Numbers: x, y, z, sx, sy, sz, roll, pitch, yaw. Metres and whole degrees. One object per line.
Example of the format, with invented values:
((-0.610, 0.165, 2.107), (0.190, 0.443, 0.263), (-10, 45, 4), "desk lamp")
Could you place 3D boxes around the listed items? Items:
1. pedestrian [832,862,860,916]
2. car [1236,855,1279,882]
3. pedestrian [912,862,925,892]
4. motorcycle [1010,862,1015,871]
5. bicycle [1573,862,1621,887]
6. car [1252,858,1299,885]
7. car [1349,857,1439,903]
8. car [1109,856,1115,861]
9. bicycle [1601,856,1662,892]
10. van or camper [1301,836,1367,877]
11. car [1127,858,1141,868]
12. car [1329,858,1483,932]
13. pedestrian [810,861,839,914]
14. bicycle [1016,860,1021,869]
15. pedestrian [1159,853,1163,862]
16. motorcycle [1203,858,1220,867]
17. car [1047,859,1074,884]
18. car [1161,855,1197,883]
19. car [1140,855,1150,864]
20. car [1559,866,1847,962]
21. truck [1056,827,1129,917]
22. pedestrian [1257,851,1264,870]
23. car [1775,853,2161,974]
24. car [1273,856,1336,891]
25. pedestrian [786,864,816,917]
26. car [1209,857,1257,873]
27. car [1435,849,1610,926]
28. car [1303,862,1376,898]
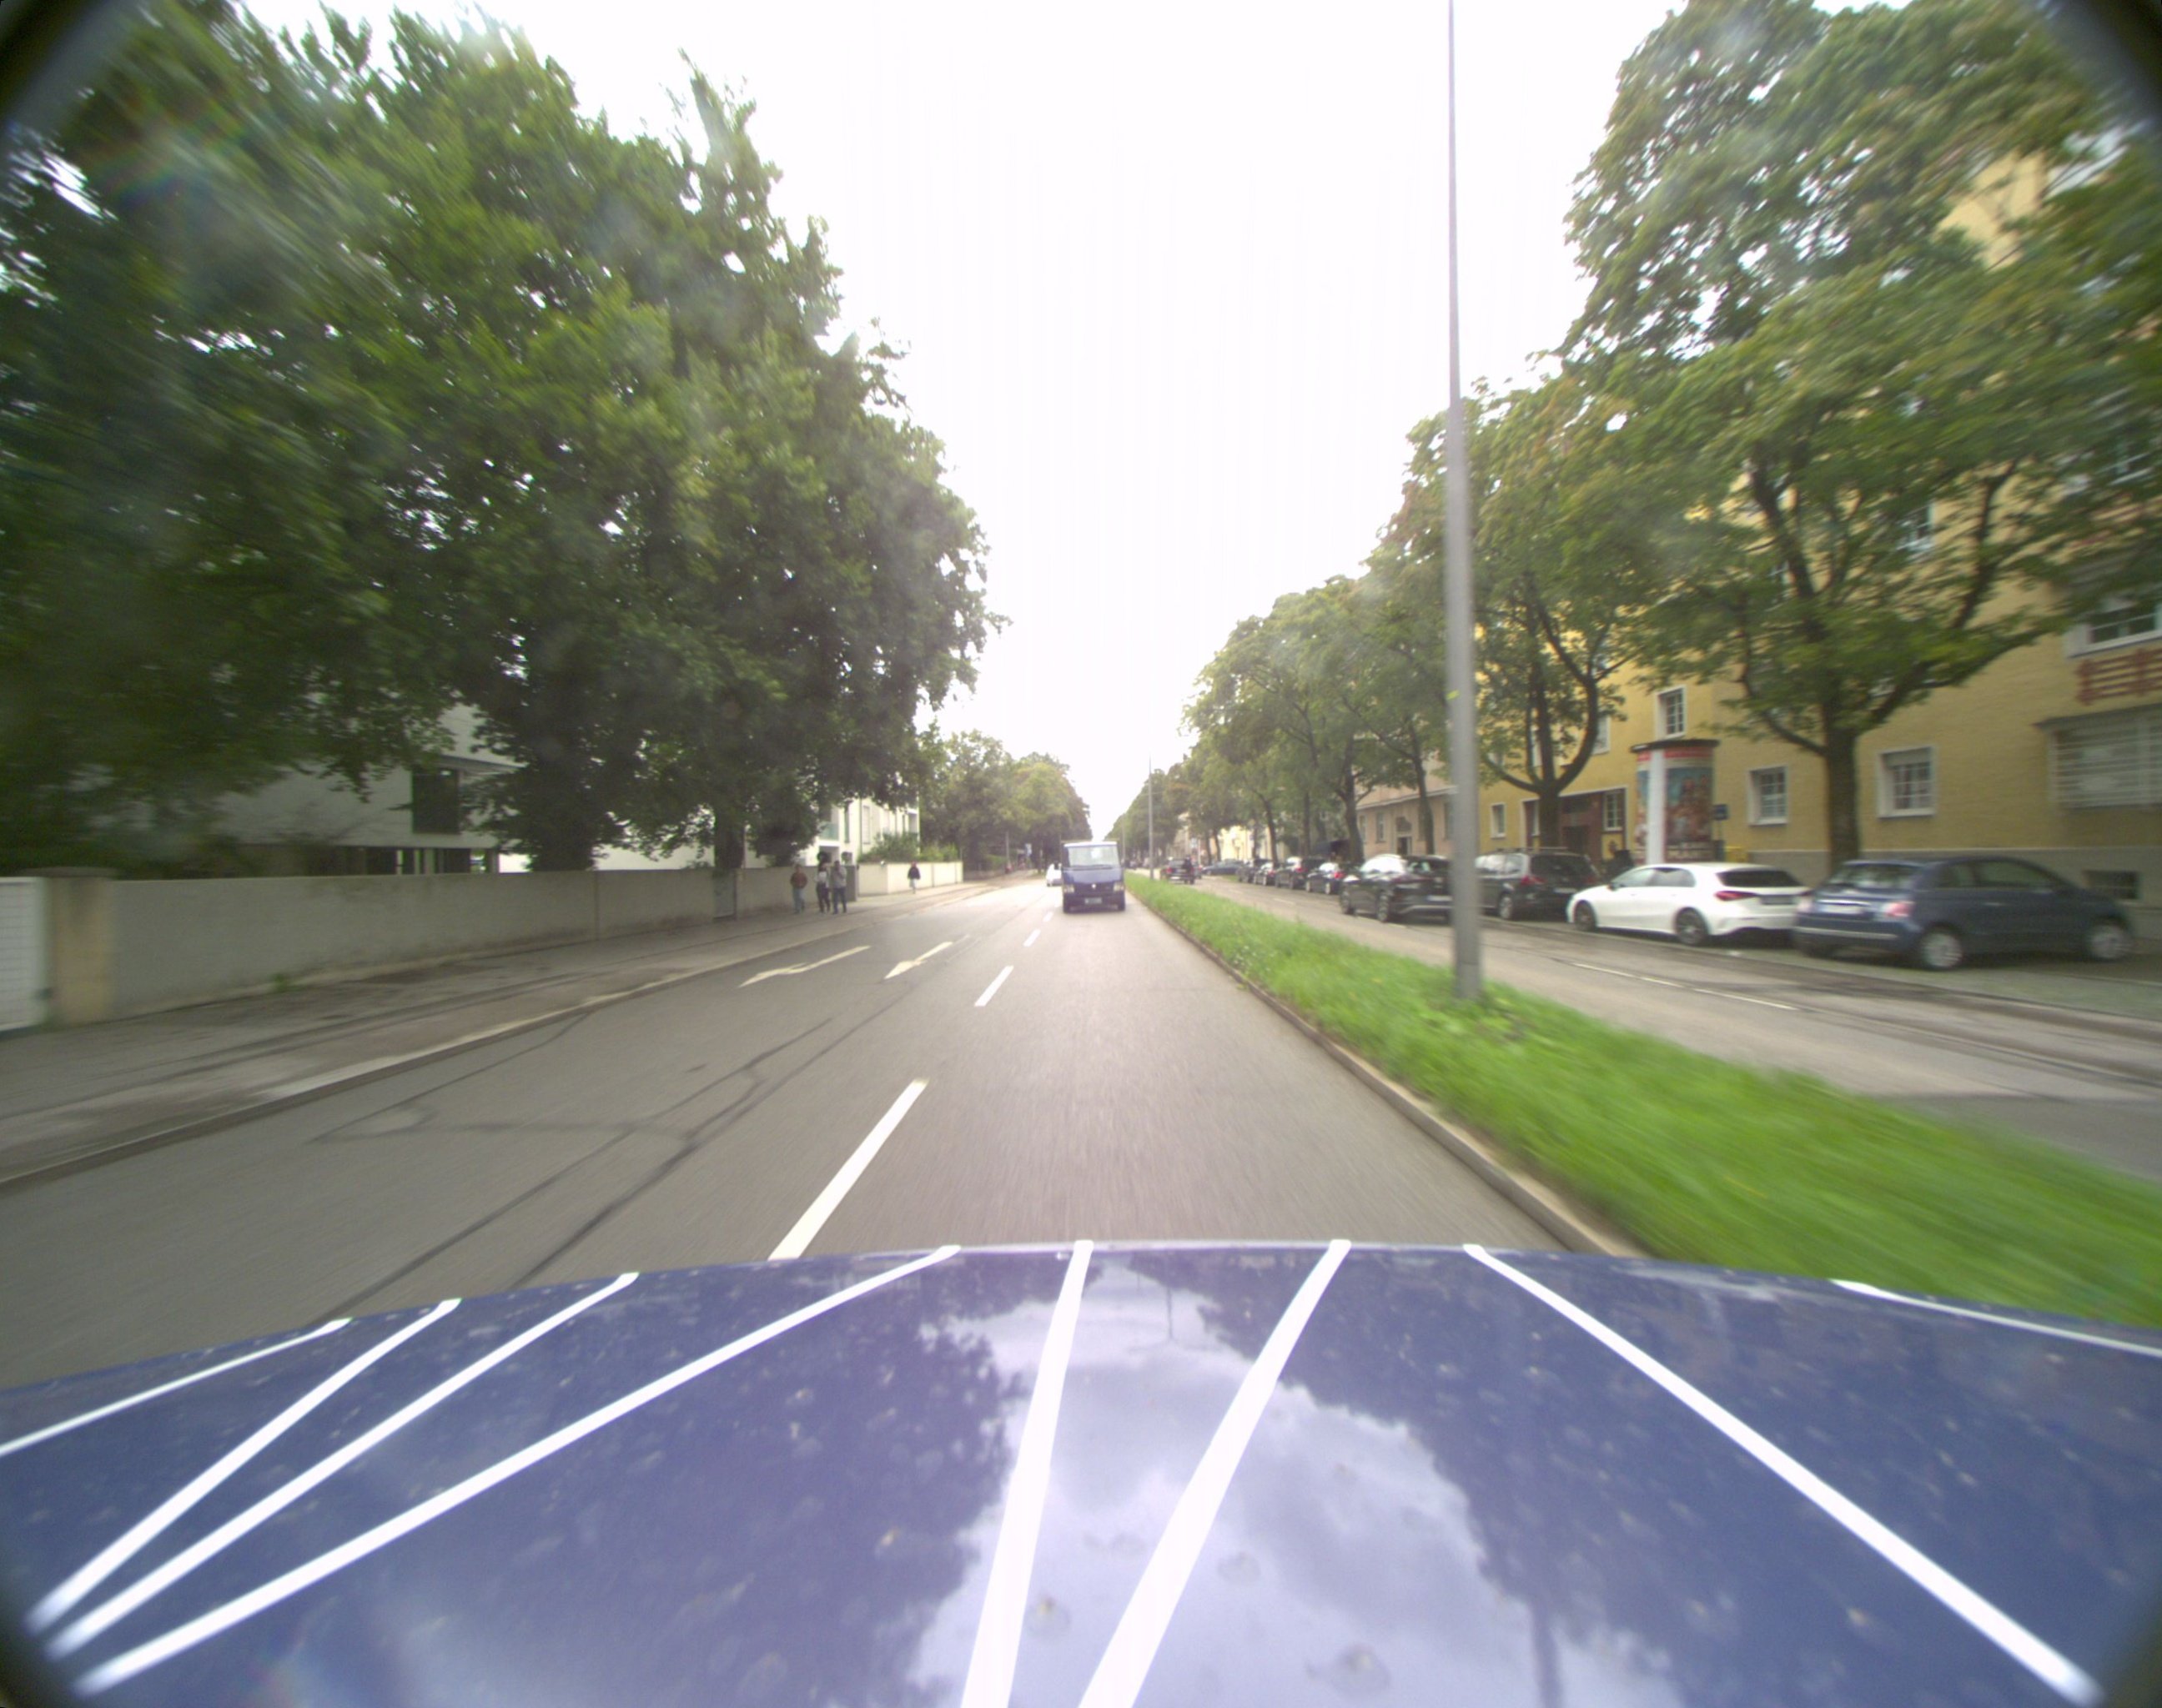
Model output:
((-7.600, 1.122, 24.598), (0.668, 1.712, 0.729), (1, 0, 0), "pedestrian")
((11.556, 0.927, 50.001), (1.878, 1.677, 4.439), (-1, 0, 1), "car")
((-8.554, 1.204, 39.978), (0.529, 1.572, 0.729), (1, 0, 0), "pedestrian")
((-8.222, 1.491, 90.802), (0.497, 1.135, 1.631), (-1, 0, -9), "motorcycle")
((19.815, 0.781, 29.207), (0.543, 0.894, 1.931), (-1, 0, 1), "bicycle")
((11.390, 1.009, 44.815), (1.696, 1.446, 4.493), (-1, 0, 1), "car")
((11.523, 0.892, 28.259), (1.731, 1.552, 4.057), (-1, 0, 1), "car")
((9.912, 1.461, 246.516), (1.814, 1.761, 4.000), (-1, 0, 2), "car")
((19.461, 0.672, 26.910), (0.771, 1.215, 1.931), (-1, 0, 1), "bicycle")
((17.416, 0.167, 52.676), (2.351, 2.564, 6.851), (-1, 0, 1), "van or camper")
((7.909, 1.323, 113.294), (1.815, 1.498, 4.323), (1, 0, 1), "car")
((7.798, 0.898, 18.780), (1.880, 1.575, 4.621), (1, 0, 1), "car")
((-8.295, 1.062, 24.557), (0.668, 1.683, 0.729), (1, 0, 0), "pedestrian")
((-8.118, 1.344, 98.337), (0.490, 1.092, 1.631), (-1, 0, -9), "bicycle")
((18.453, 0.825, 175.054), (0.641, 2.031, 0.738), (-1, 0, 12), "pedestrian")
((16.291, 1.082, 94.574), (1.954, 1.142, 0.597), (-1, 0, 22), "motorcycle")
((-1.351, 1.127, 50.952), (1.647, 1.553, 3.586), (-1, 0, 0), "car")
((6.140, 0.908, 47.862), (1.774, 1.669, 4.369), (0, 0, 1), "car")
((13.553, 1.180, 160.940), (1.872, 1.827, 4.000), (-1, 0, 1), "car")
((10.976, 0.958, 13.922), (1.731, 1.394, 4.404), (-1, 0, 1), "car")
((0.382, 0.520, 23.720), (1.998, 2.475, 5.151), (-1, 0, 1), "truck")
((19.321, 0.738, 81.796), (0.599, 2.047, 0.685), (-1, 0, 20), "pedestrian")
((12.300, 0.752, 10.459), (3.899, 1.455, 1.732), (-1, 0, 0), "car")
((11.305, 0.937, 38.742), (1.883, 1.635, 4.770), (-1, 0, 1), "car")
((-9.055, 1.165, 24.582), (0.668, 1.695, 0.766), (1, 0, 0), "pedestrian")
((13.817, 1.007, 68.960), (3.991, 1.367, 1.865), (-2, -1, 22), "car")
((11.136, 0.780, 19.642), (1.815, 1.717, 4.767), (-1, 0, 1), "car")
((11.117, 1.077, 32.961), (1.731, 1.397, 4.363), (-1, 0, 1), "car")
